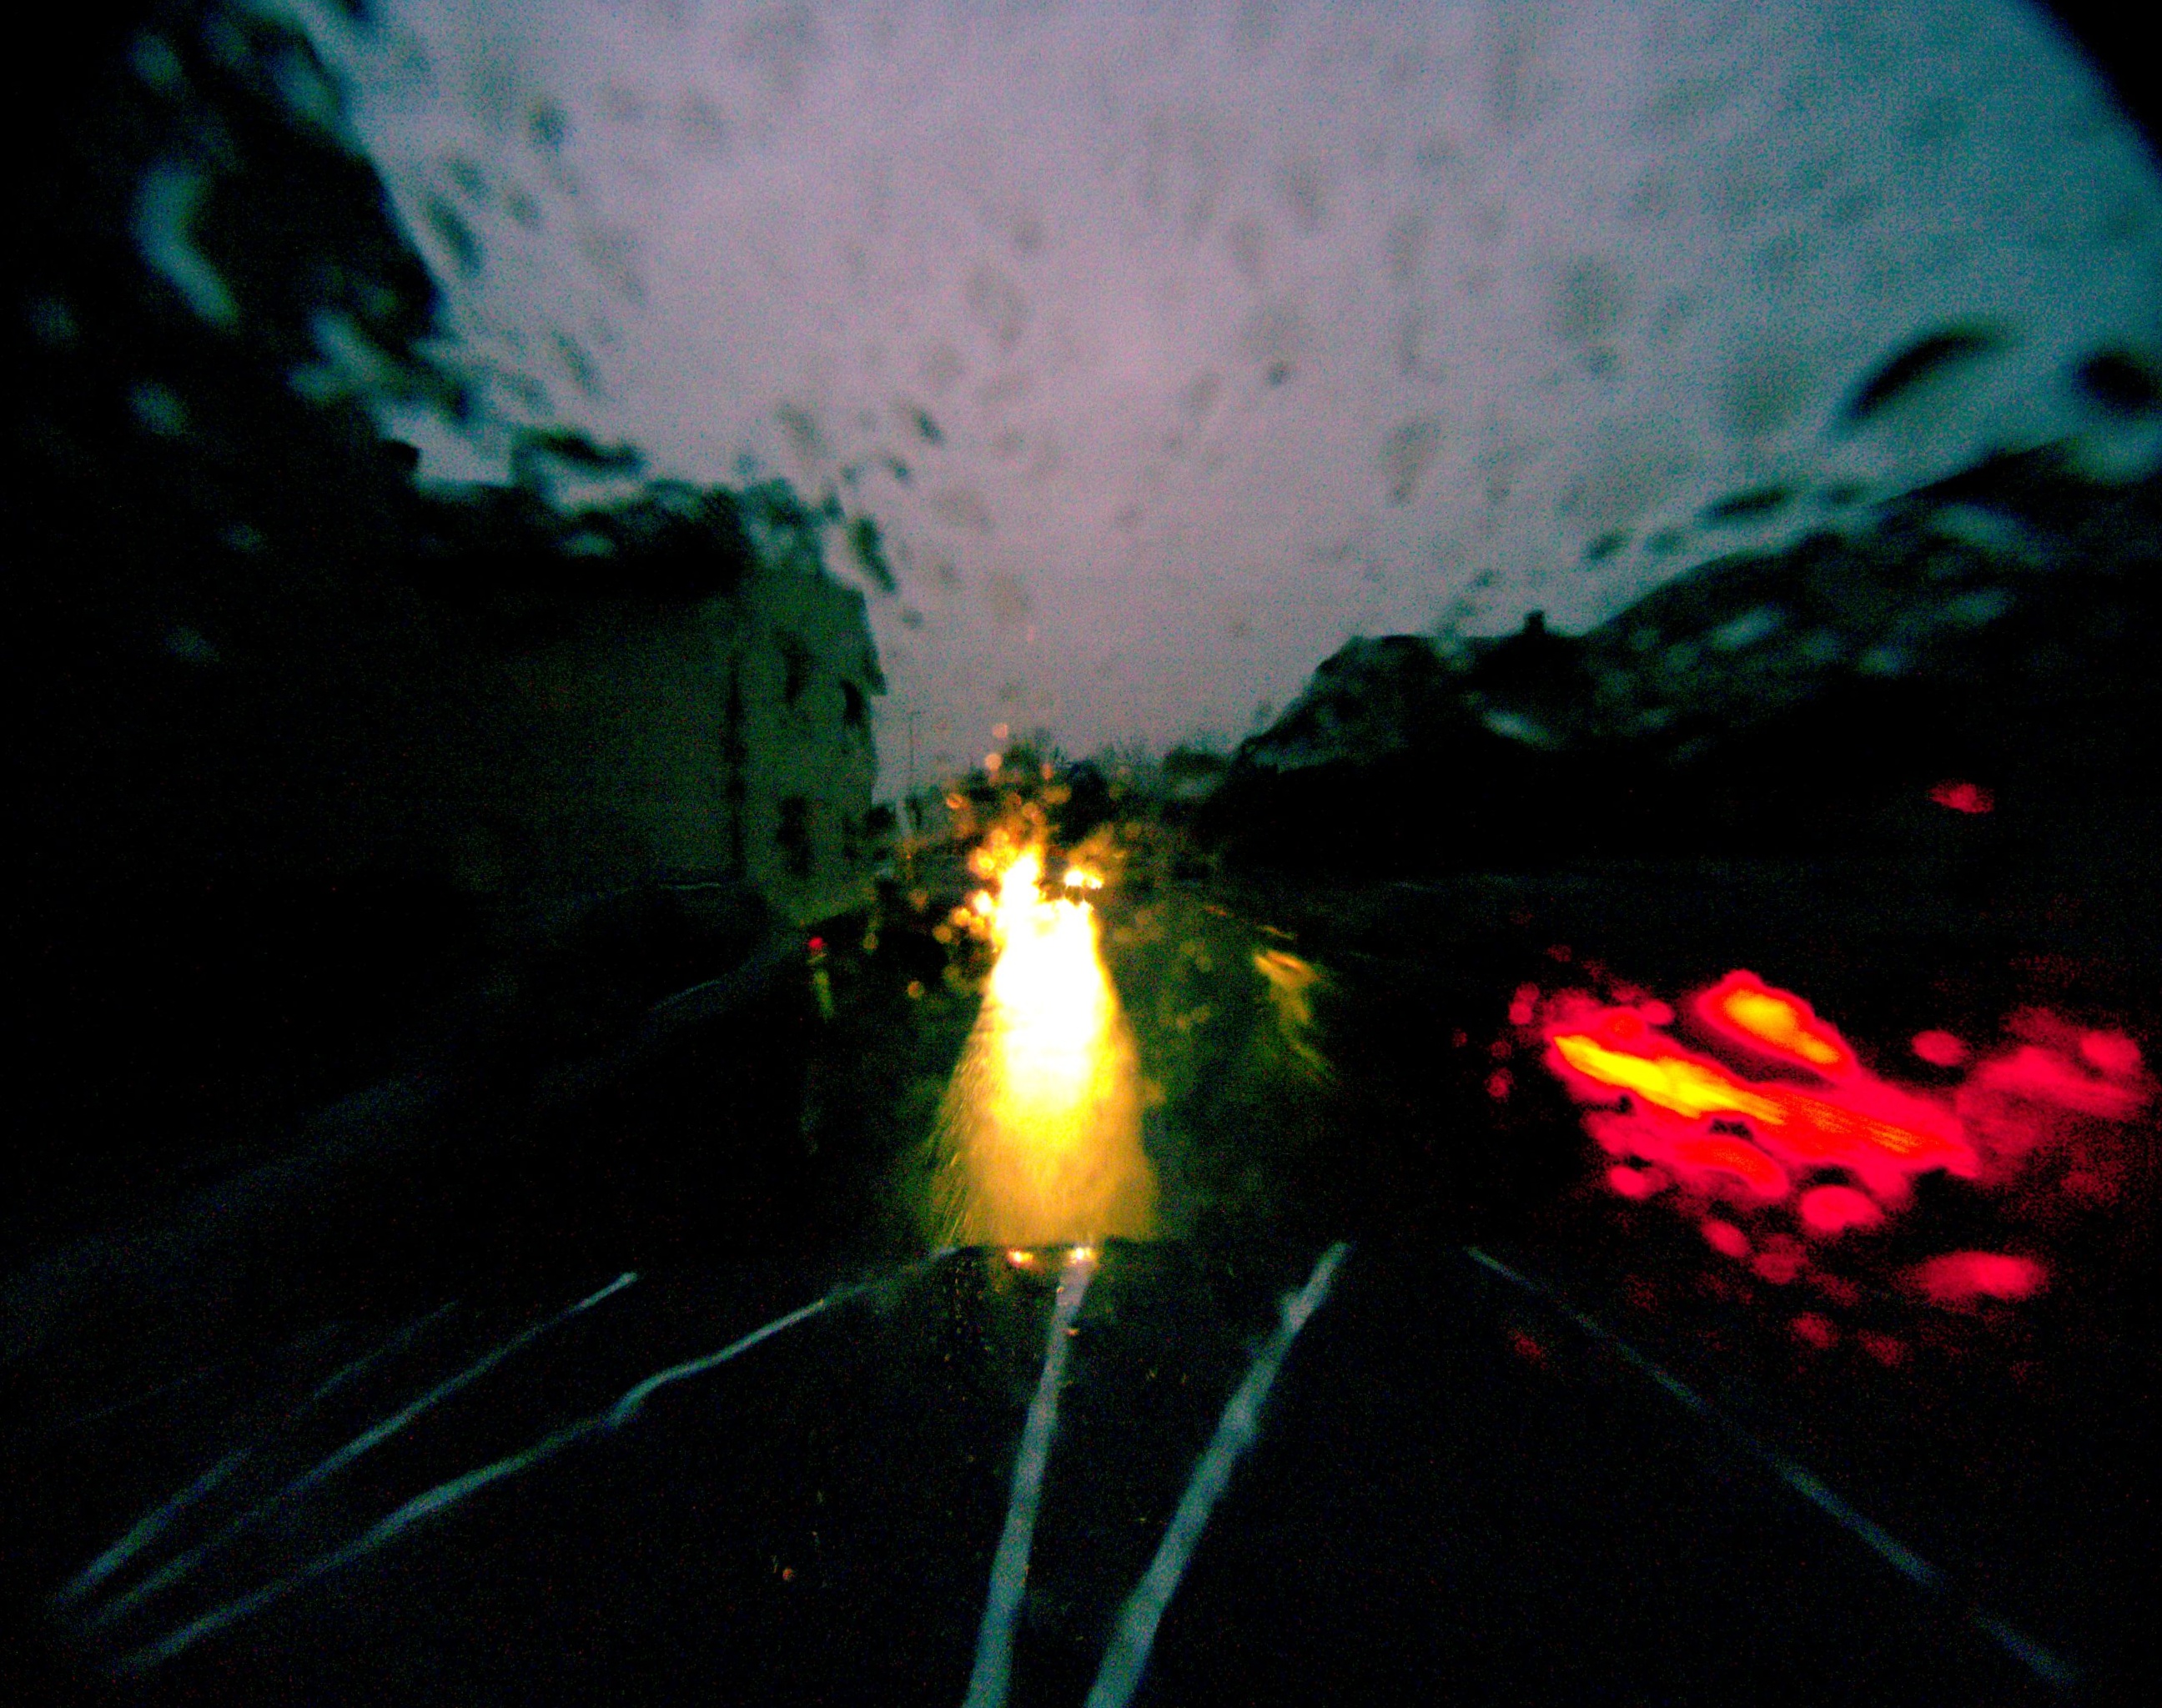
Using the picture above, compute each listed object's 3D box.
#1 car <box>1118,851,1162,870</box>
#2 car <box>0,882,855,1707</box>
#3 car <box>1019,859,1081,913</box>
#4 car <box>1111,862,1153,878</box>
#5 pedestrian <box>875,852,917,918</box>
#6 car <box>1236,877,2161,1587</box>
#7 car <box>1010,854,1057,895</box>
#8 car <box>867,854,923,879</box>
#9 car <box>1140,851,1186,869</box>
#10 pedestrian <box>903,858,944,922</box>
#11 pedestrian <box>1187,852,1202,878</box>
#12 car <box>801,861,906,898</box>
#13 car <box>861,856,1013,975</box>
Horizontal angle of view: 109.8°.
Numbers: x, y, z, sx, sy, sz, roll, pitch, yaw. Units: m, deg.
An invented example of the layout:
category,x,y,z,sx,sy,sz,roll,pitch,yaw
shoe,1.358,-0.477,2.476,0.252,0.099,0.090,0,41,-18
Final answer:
category,x,y,z,sx,sy,sz,roll,pitch,yaw
car,5.326,0.585,68.615,3.627,1.602,1.612,-2,0,17
car,-2.158,0.928,2.090,1.802,1.525,4.000,-1,0,1
car,-0.968,0.947,24.016,1.732,1.475,3.603,-3,0,-2
car,5.188,1.611,76.790,3.993,1.622,1.636,-1,0,14
pedestrian,-4.989,0.814,20.528,0.850,1.723,0.971,2,0,-1
car,2.234,0.896,3.871,1.873,1.393,4.365,-1,0,-2
car,-2.175,0.858,33.752,1.924,1.608,3.866,-2,0,-5
car,-14.253,0.963,58.186,4.057,1.832,1.861,1,0,-14
car,6.839,0.501,63.261,3.478,1.401,1.612,-2,0,19
pedestrian,-4.249,0.949,20.569,0.869,1.657,0.992,2,0,-1
pedestrian,7.931,0.773,53.031,0.882,1.724,0.955,-2,0,-1
car,-9.383,1.059,31.606,3.912,1.465,1.750,0,0,-6
car,-2.294,0.904,13.248,1.852,1.627,4.335,-2,0,-1
